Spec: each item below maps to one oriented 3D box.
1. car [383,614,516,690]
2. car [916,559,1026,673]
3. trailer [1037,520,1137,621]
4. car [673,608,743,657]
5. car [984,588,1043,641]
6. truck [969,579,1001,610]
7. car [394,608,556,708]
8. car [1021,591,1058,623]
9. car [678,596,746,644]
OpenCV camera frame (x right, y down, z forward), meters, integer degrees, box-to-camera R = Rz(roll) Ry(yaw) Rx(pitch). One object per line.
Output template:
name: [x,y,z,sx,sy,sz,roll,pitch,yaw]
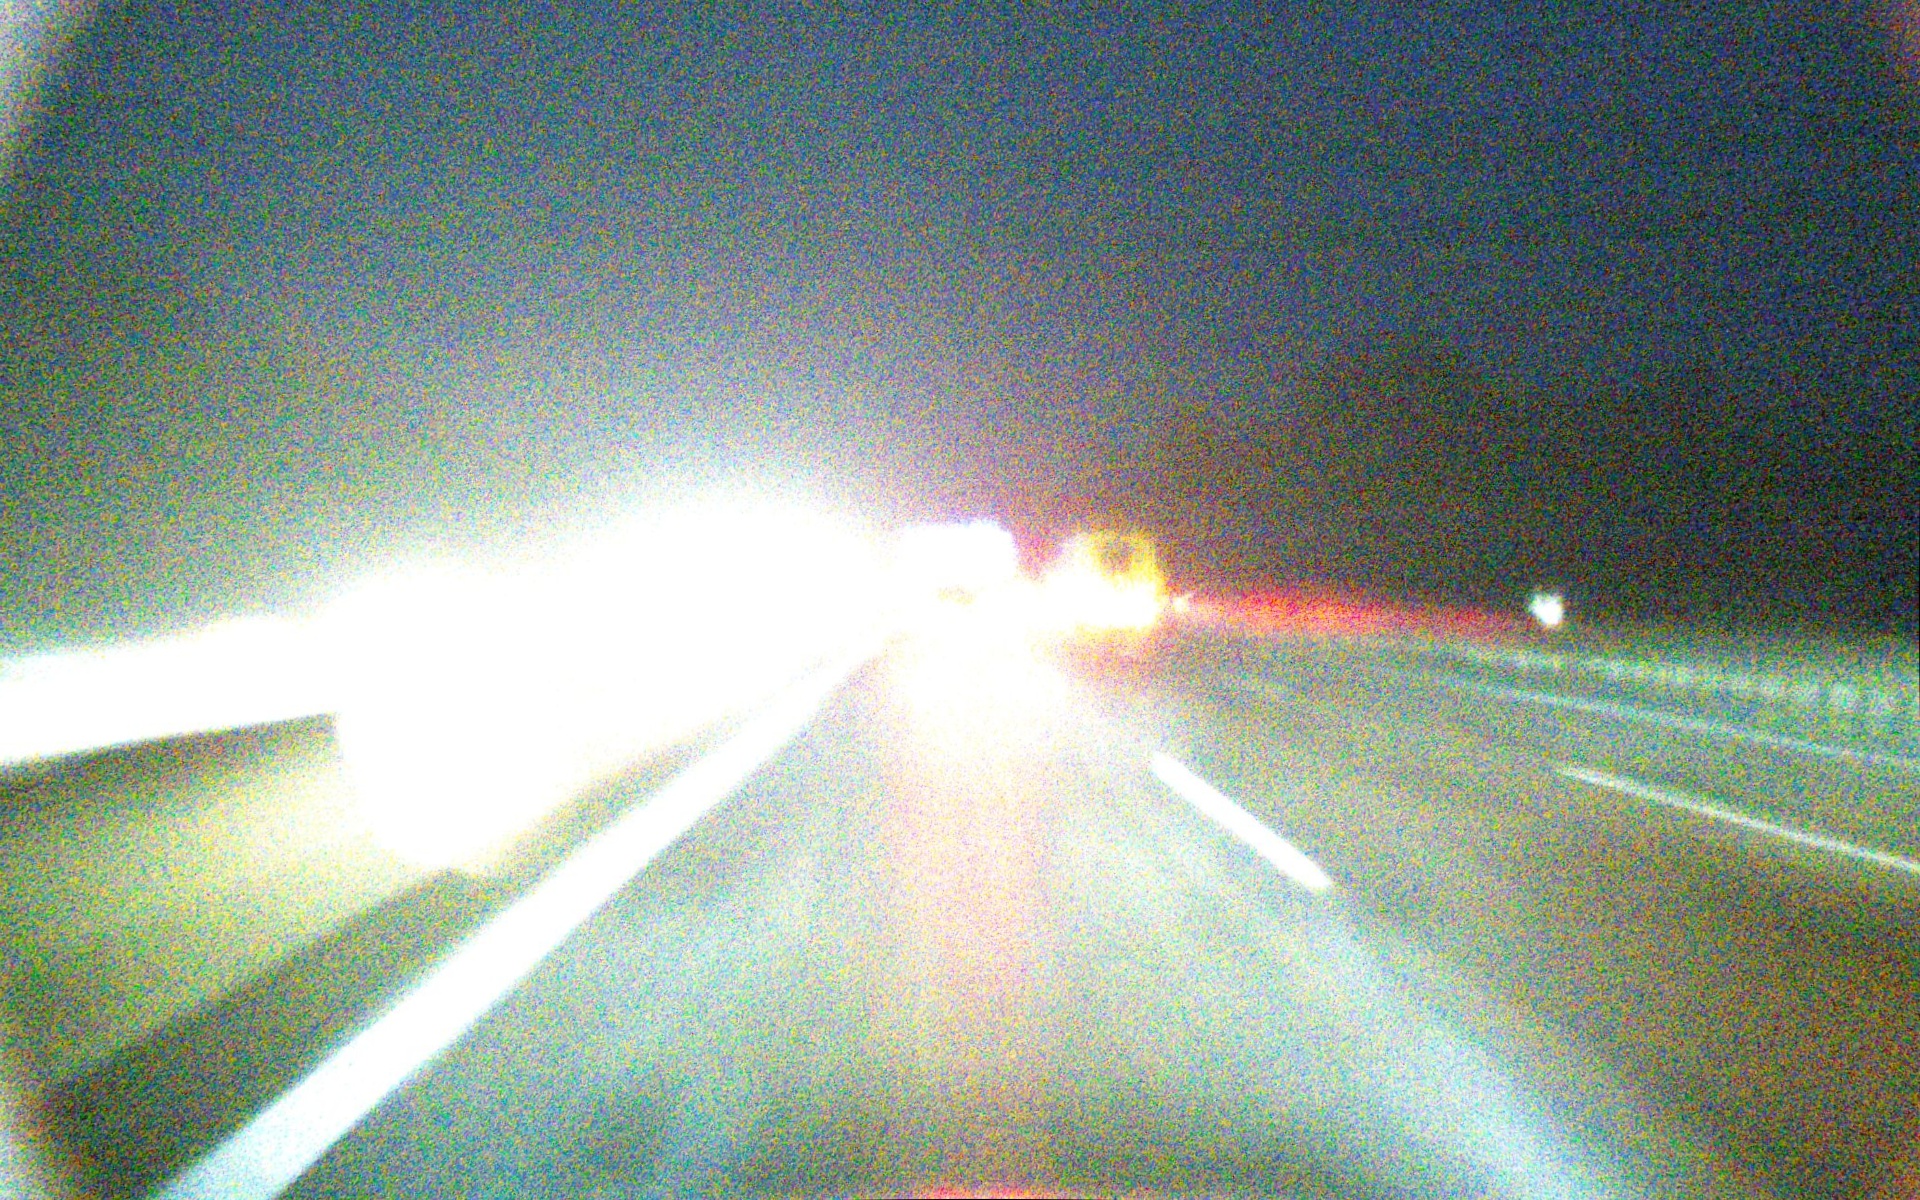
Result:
car: [-12.569,1.243,41.000,1.877,1.713,4.505,-2,-1,0]
car: [0.148,0.312,32.149,1.953,2.049,3.998,1,0,-2]
trailer: [5.719,-1.228,77.270,2.980,4.180,13.822,-2,0,-2]
car: [-9.340,1.201,61.573,1.877,1.713,4.505,-2,-1,0]
car: [2.180,0.586,68.317,1.954,2.049,3.996,-2,0,-4]
truck: [2.779,-0.579,188.663,2.976,3.355,11.375,-2,0,-2]
car: [-9.096,1.055,31.338,1.877,1.713,3.999,-2,-1,-1]
car: [5.352,0.495,112.066,1.954,2.049,3.996,-2,0,-4]
car: [-9.405,0.759,62.985,1.877,1.713,4.505,-2,-1,0]
